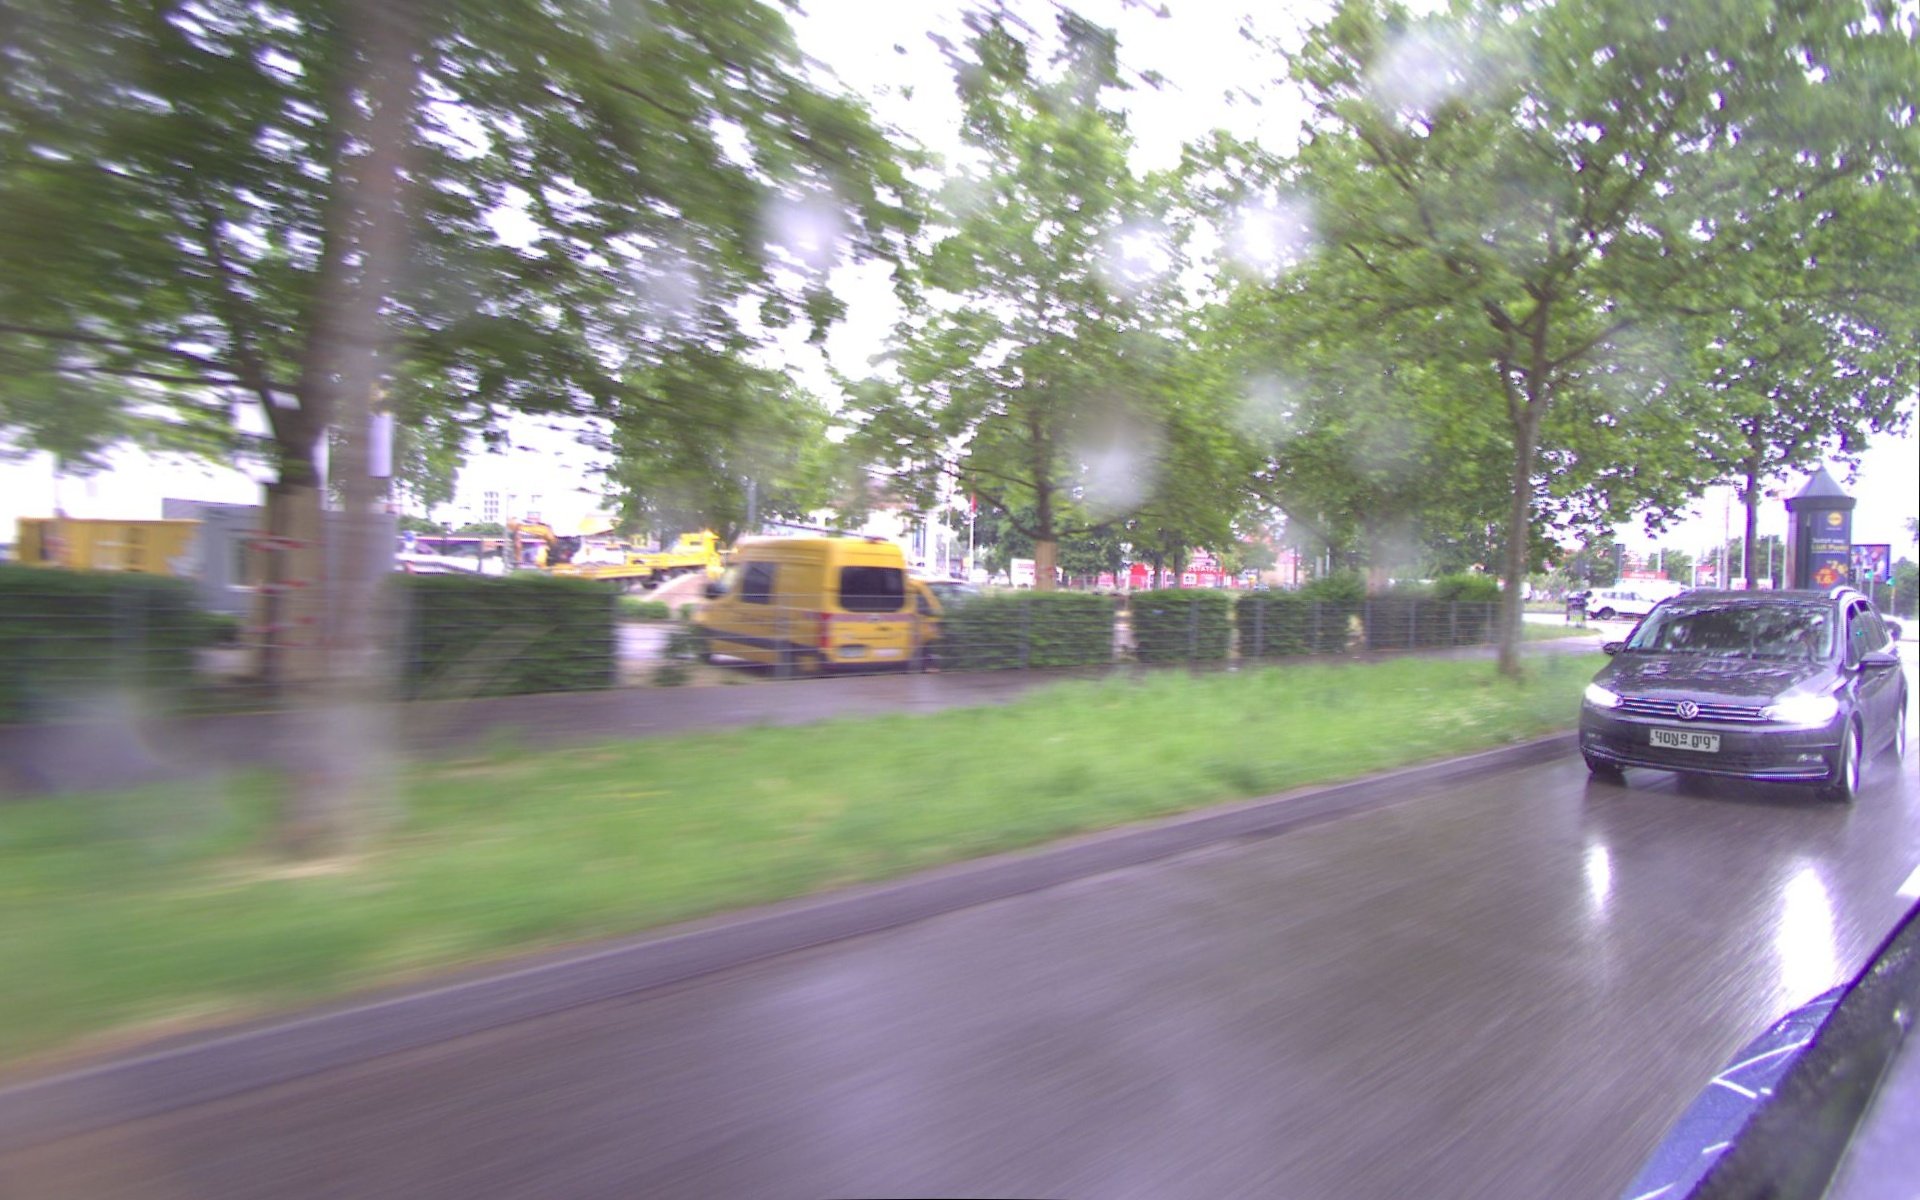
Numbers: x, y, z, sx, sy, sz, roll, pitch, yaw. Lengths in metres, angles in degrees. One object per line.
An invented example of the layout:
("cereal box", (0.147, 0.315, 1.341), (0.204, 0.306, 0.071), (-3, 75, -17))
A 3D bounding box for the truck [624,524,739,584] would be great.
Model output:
("truck", (-16.728, -2.697, 61.697), (2.460, 3.387, 9.431), (0, 1, 14))

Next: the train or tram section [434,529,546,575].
("train or tram section", (-37.463, -3.775, 80.676), (8.398, 3.564, 2.392), (0, 1, 12))

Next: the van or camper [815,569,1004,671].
("van or camper", (-1.131, 0.353, 21.220), (1.772, 1.931, 3.990), (1, 0, -44))

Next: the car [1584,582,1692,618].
("car", (36.674, -0.025, 54.860), (4.392, 1.693, 1.862), (2, 2, 12))

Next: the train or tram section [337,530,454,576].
("train or tram section", (-45.987, -3.794, 82.513), (8.971, 3.564, 2.392), (0, 1, 12))

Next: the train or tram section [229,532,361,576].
("train or tram section", (-55.584, -3.815, 84.585), (10.678, 3.564, 2.392), (0, 1, 12))

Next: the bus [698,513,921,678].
("bus", (-2.963, -0.123, 18.986), (1.964, 2.680, 4.804), (1, 1, -39))

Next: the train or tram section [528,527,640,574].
("train or tram section", (-29.326, -3.812, 78.933), (8.240, 3.564, 2.392), (0, 1, 12))

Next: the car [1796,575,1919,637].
("car", (33.082, 0.154, 37.143), (1.906, 2.081, 4.731), (2, 2, 17))

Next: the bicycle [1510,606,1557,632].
("bicycle", (25.241, 0.837, 44.583), (0.795, 1.051, 1.629), (1, 2, -20))

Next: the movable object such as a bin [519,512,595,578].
("movable object such as a bin", (-23.644, -3.182, 59.512), (3.253, 3.670, 3.617), (1, 1, -5))

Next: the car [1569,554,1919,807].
("car", (7.212, 0.549, 9.083), (4.118, 1.748, 1.859), (0, 0, -42))

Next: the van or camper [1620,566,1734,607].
("van or camper", (40.471, -0.760, 57.223), (4.832, 2.114, 1.862), (2, 2, 12))

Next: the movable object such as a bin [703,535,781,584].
("movable object such as a bin", (-10.897, -2.031, 50.573), (3.250, 2.385, 1.995), (2, 1, 27))

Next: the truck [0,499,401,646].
("truck", (-18.190, -0.623, 23.769), (9.362, 3.070, 3.068), (0, 1, 15))

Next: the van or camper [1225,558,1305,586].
("van or camper", (35.378, -3.198, 117.733), (8.848, 3.196, 2.974), (0, 1, 15))
